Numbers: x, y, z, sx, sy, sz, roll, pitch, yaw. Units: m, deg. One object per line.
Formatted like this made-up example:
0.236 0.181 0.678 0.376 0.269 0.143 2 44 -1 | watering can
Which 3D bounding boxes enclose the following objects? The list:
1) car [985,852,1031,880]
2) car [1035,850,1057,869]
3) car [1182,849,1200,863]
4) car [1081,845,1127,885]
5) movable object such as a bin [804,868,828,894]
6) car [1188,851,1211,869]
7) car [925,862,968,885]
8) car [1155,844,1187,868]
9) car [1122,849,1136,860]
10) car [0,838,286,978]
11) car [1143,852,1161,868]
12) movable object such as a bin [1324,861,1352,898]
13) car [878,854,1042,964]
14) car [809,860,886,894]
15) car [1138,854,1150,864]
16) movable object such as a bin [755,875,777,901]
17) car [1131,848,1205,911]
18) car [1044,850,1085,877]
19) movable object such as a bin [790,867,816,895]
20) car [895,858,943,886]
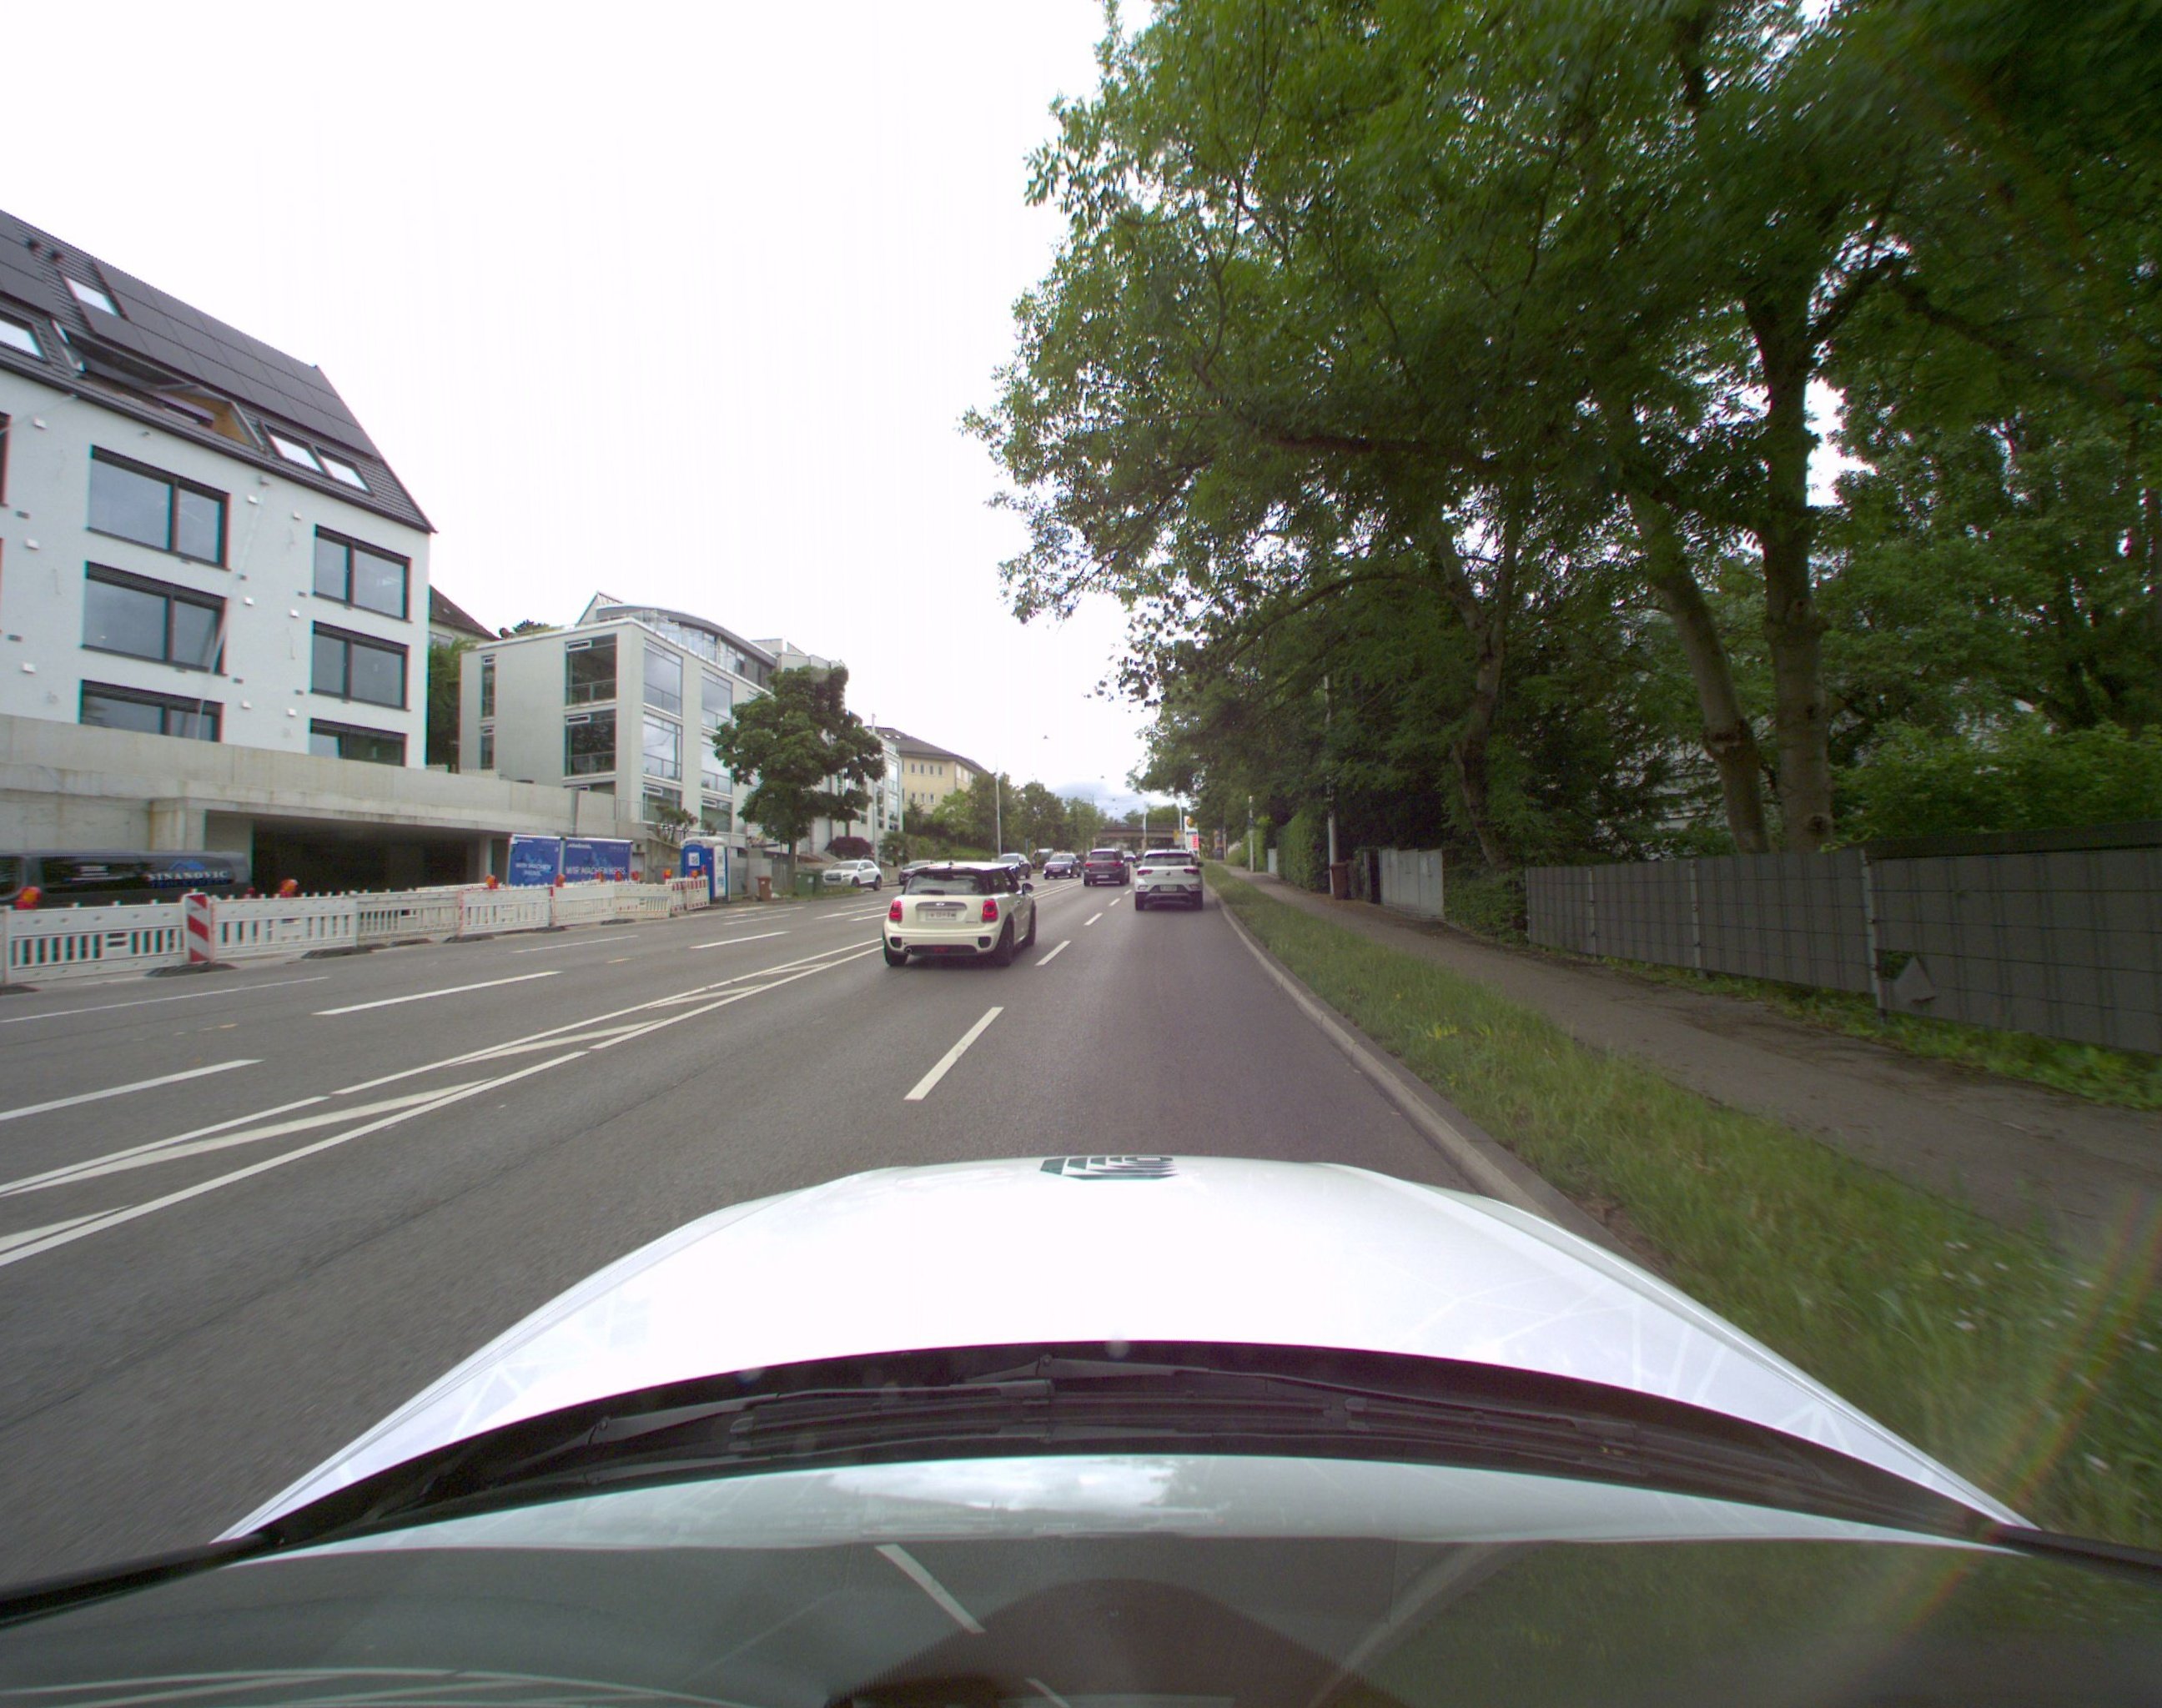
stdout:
-4.493 0.716 50.857 1.760 1.634 4.154 -1 0 10 | car
-4.239 0.652 99.025 2.059 2.306 5.471 -1 0 4 | car
12.922 0.226 95.847 1.849 1.500 4.061 -2 0 5 | car
0.997 0.496 37.365 1.808 1.652 4.632 -2 0 -2 | car
-10.244 1.034 31.492 0.640 0.990 0.663 -1 0 15 | movable object such as a bin
10.734 0.550 73.919 1.863 1.501 4.563 2 -1 6 | car
-9.269 1.325 56.508 1.761 1.407 4.152 -1 0 8 | car
5.842 0.158 53.497 1.865 1.501 4.559 2 -1 4 | car
6.810 0.077 115.052 1.887 1.542 4.698 -1 0 4 | car
-16.027 0.781 12.522 1.970 1.967 5.233 -1 0 11 | car
7.965 0.648 91.462 1.850 1.652 4.641 -2 0 4 | car
6.606 0.654 20.965 0.552 0.947 0.568 -1 0 3 | movable object such as a bin
-1.662 0.718 12.371 1.620 1.393 3.571 -2 0 5 | car
-11.054 1.056 38.844 1.760 1.499 4.317 -1 0 10 | car
9.934 0.727 128.347 1.887 1.542 4.697 -1 0 4 | car
-11.061 1.191 28.596 0.661 0.879 0.642 -1 0 -25 | movable object such as a bin
2.406 0.636 22.283 1.802 1.539 3.697 -2 0 7 | car
-0.977 0.570 50.963 1.761 1.596 5.194 -1 0 7 | car
-10.534 1.012 30.871 0.640 1.015 0.663 -1 0 15 | movable object such as a bin
-10.104 1.092 50.973 1.761 1.634 3.923 -1 0 7 | car
